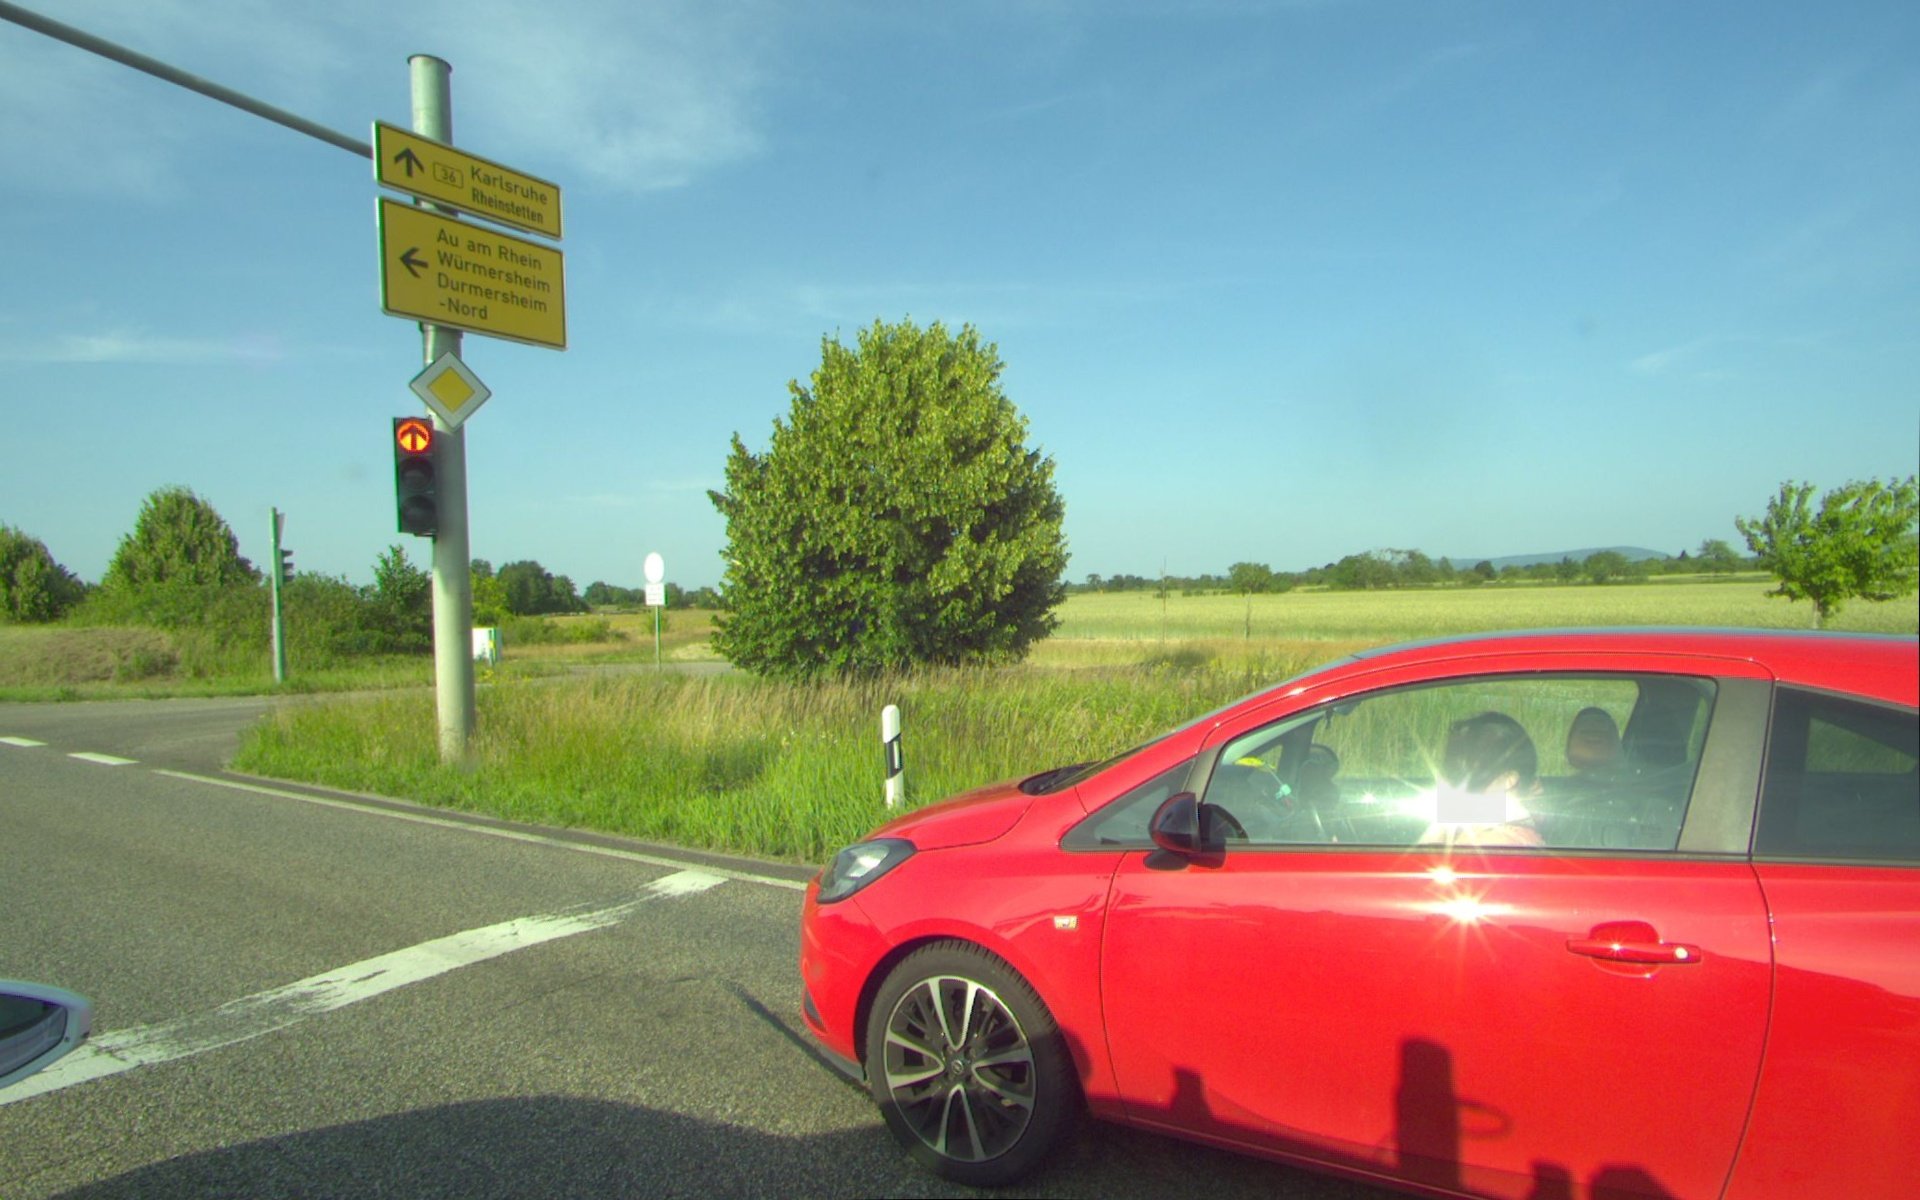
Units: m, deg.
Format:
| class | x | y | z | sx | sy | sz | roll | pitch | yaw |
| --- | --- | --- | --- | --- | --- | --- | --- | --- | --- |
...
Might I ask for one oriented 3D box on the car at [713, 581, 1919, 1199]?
| class | x | y | z | sx | sy | sz | roll | pitch | yaw |
| --- | --- | --- | --- | --- | --- | --- | --- | --- | --- |
| car | 1.286 | 0.769 | 2.837 | 3.693 | 1.569 | 1.695 | -1 | 0 | 29 |
